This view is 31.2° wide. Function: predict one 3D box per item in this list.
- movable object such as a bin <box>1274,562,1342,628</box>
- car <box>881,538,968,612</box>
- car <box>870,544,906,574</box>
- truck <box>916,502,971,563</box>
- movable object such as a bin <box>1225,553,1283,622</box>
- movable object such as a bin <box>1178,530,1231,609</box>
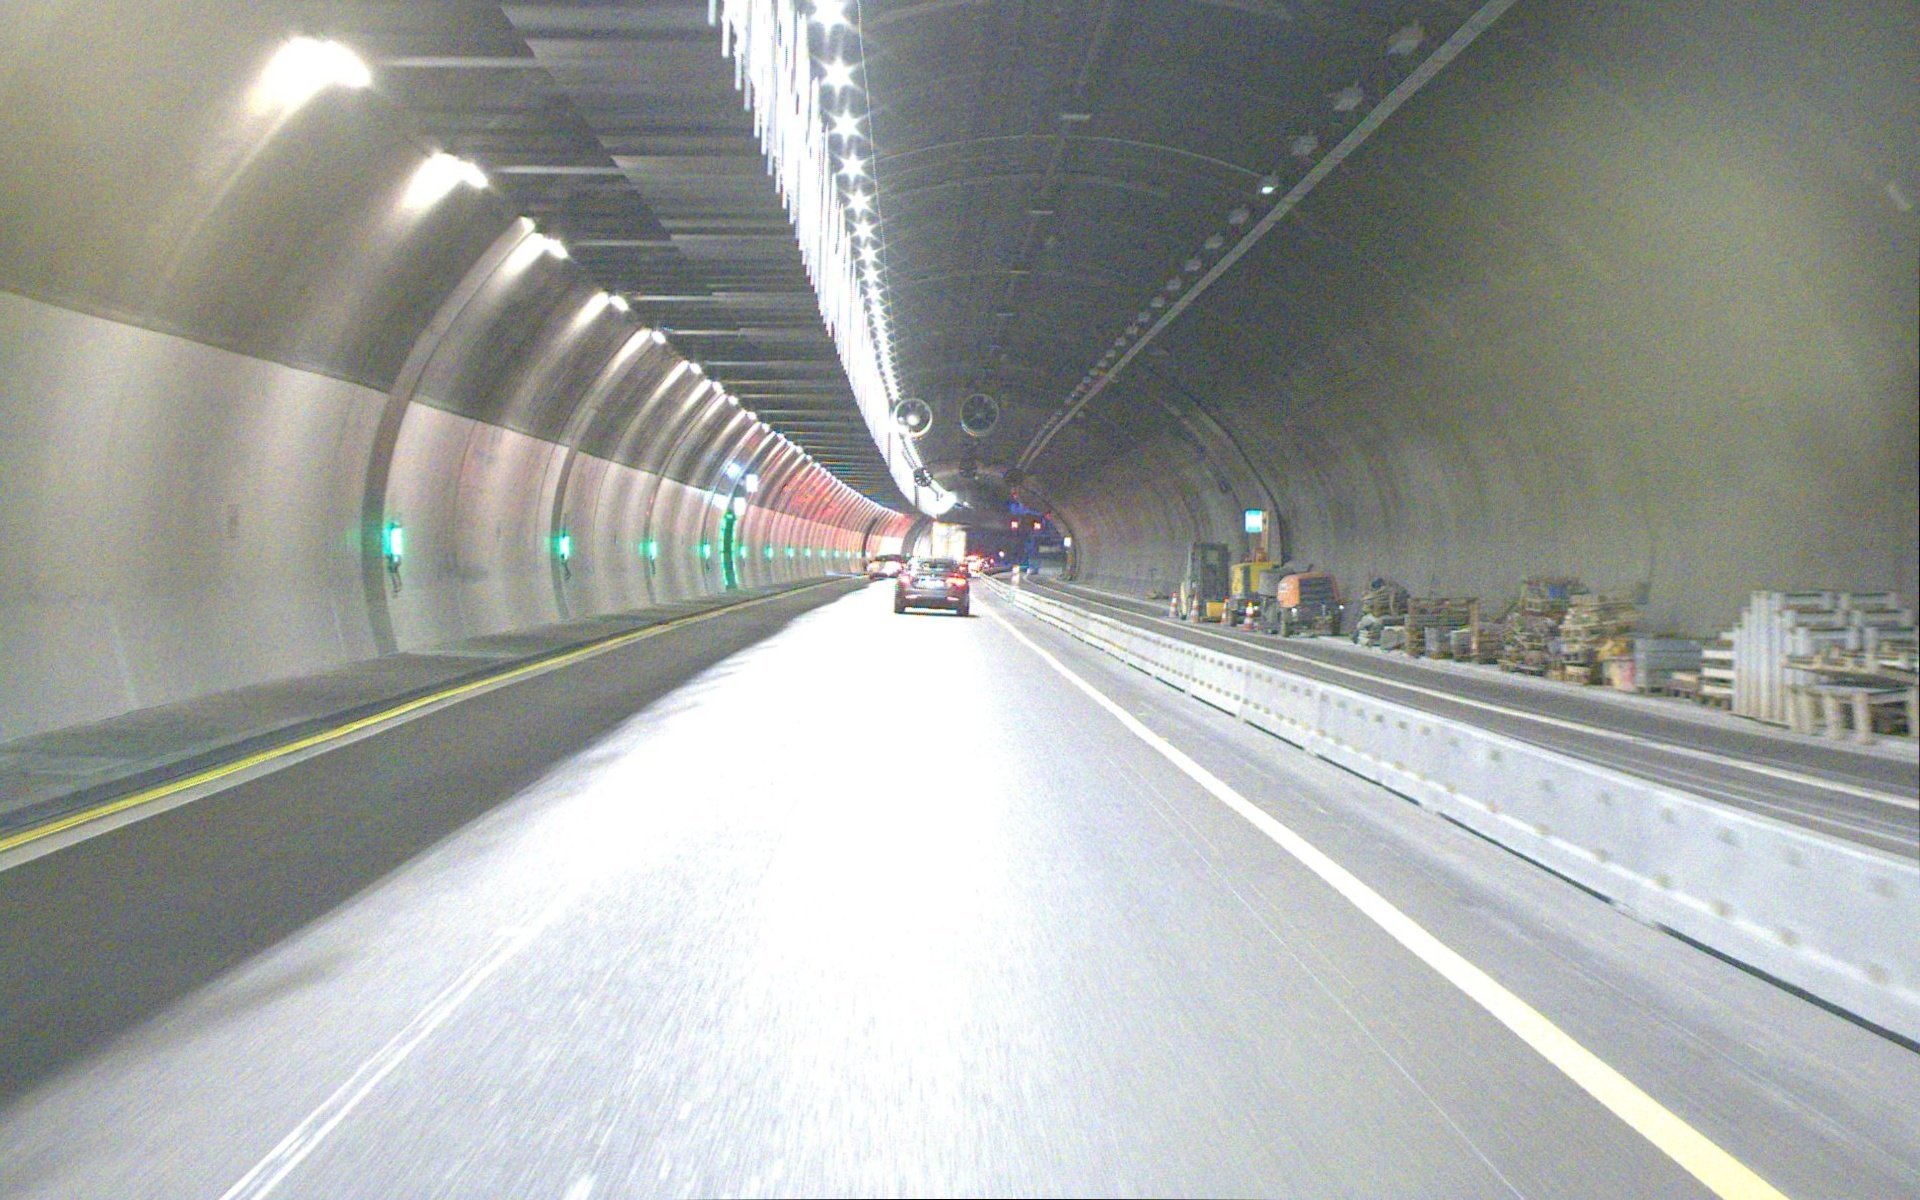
[{"bbox_3d":[7.779,-0.124,76.966,1.234,1.437,2.217,1,1,-1],"label":"movable object such as a bin"},{"bbox_3d":[-0.922,-0.641,86.575,1.946,1.788,4.001,-1,1,-4],"label":"car"},{"bbox_3d":[-4.110,-2.353,196.476,1.930,1.681,4.000,-1,1,1],"label":"car"},{"bbox_3d":[-1.275,-5.204,264.353,4.066,4.517,14.966,-1,1,0],"label":"truck"},{"bbox_3d":[7.534,-0.327,88.269,1.234,1.713,2.217,1,1,-1],"label":"movable object such as a bin"},{"bbox_3d":[6.750,-0.856,95.142,1.234,2.133,2.217,1,1,-1],"label":"movable object such as a bin"}]
